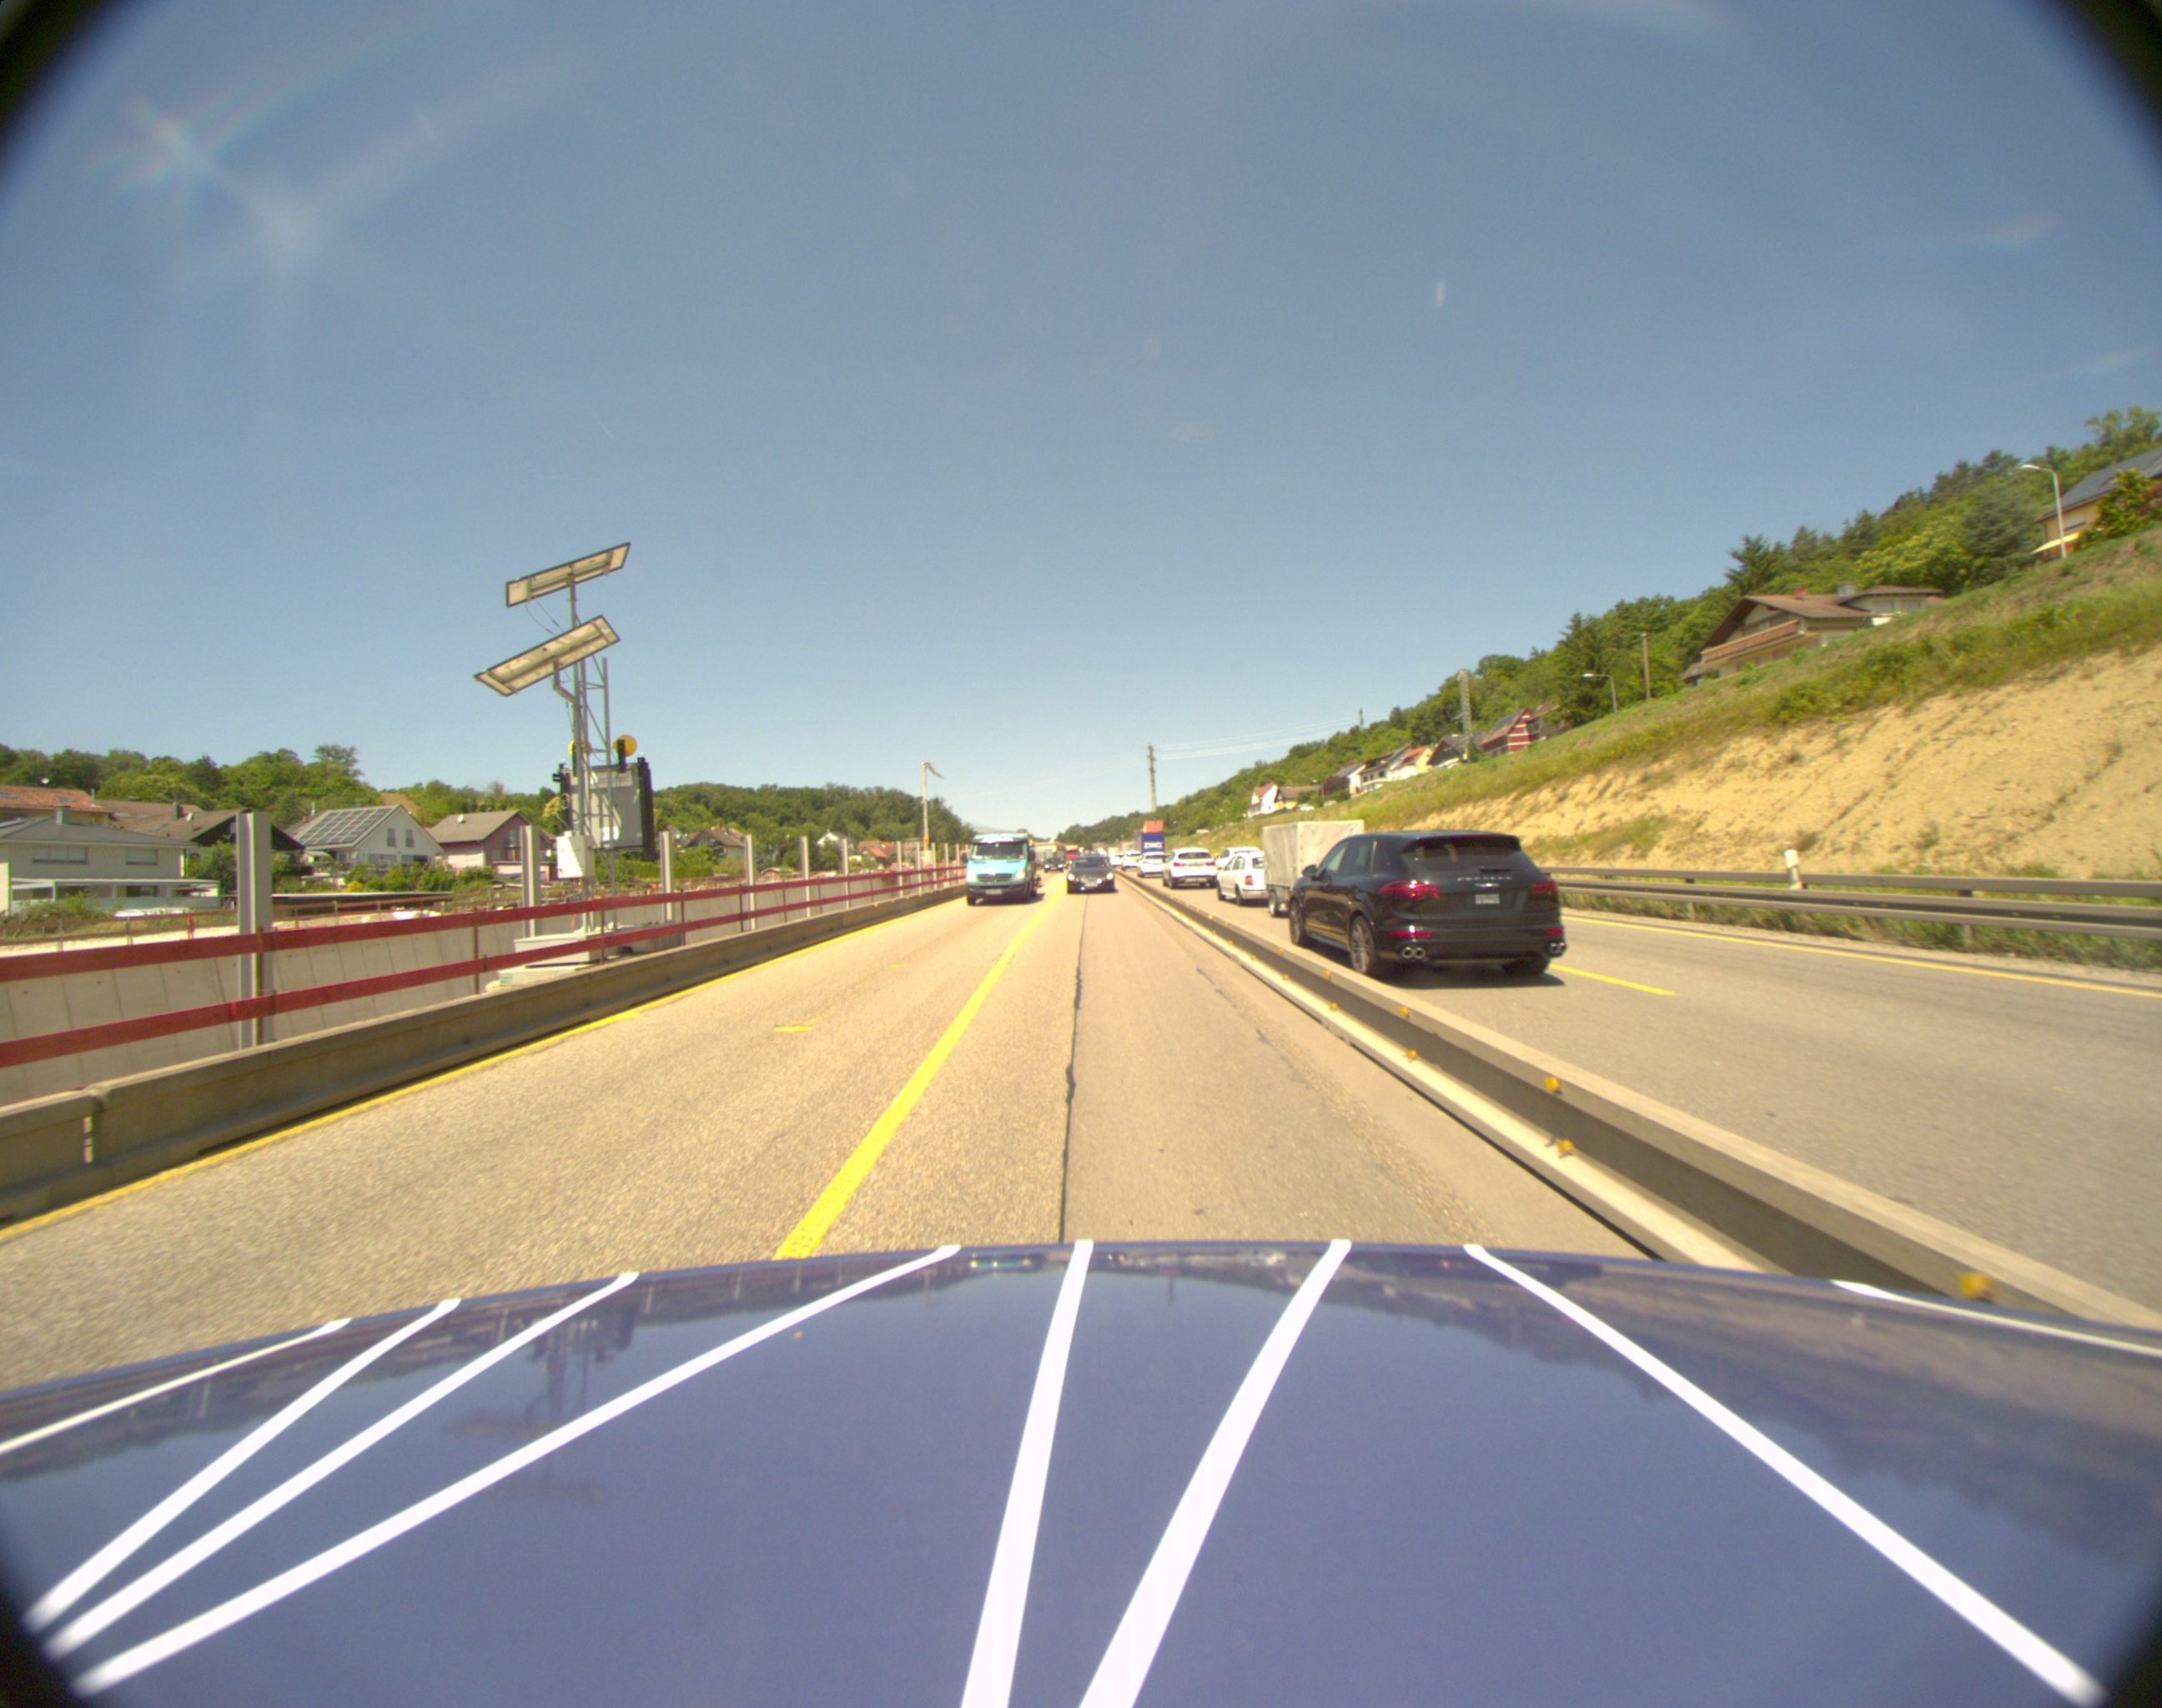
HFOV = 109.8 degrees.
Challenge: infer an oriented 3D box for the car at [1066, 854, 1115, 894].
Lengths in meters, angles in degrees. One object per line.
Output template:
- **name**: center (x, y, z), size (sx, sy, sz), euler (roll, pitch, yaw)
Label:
- **car**: center (0.378, 0.741, 29.901), size (1.746, 1.420, 4.000), euler (-1, 0, 1)

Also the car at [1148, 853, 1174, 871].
- **car**: center (6.712, 0.646, 63.701), size (1.706, 1.370, 3.966), euler (-2, 0, 0)

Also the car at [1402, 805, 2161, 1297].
- **car**: center (3.957, 0.654, 4.901), size (1.895, 1.698, 4.561), euler (-2, 1, 1)

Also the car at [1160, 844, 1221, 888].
- **car**: center (4.380, 0.453, 30.934), size (1.820, 1.583, 4.289), euler (-2, 0, 0)

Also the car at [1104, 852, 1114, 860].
- **car**: center (5.815, 0.429, 157.092), size (1.853, 1.577, 4.174), euler (-2, 0, 0)

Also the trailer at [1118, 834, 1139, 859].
- **trailer**: center (8.770, -1.331, 140.913), size (2.817, 4.261, 14.034), euler (-2, 0, 0)

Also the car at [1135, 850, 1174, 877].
- **car**: center (4.334, 0.532, 45.374), size (1.811, 1.468, 4.279), euler (-2, 0, 0)

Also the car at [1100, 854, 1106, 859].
- **car**: center (6.712, 0.755, 232.752), size (1.772, 1.355, 4.411), euler (-2, 0, 0)

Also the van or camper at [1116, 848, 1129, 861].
- **van or camper**: center (9.330, 0.160, 170.158), size (2.340, 2.761, 7.516), euler (-2, 0, 0)

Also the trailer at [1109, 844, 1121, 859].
- **trailer**: center (9.468, -0.666, 213.947), size (2.864, 4.100, 13.437), euler (-2, 0, 0)

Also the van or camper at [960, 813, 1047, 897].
- **van or camper**: center (-2.513, 0.033, 26.841), size (2.097, 2.458, 7.671), euler (-2, 0, 1)

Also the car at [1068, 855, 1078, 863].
- **car**: center (-1.541, 0.884, 143.620), size (1.679, 1.346, 3.486), euler (-4, 0, 1)

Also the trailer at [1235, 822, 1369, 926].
- **trailer**: center (4.825, 0.380, 17.236), size (1.651, 2.014, 4.269), euler (-2, 1, -2)

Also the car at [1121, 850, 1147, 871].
- **car**: center (4.568, 0.563, 66.013), size (1.896, 1.698, 4.561), euler (-2, 0, 0)

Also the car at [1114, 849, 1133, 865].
- **car**: center (4.641, 0.319, 83.822), size (1.817, 1.628, 4.361), euler (-2, 0, 0)

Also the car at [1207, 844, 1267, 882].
- **car**: center (7.321, 0.387, 36.099), size (1.904, 1.575, 4.513), euler (-2, 0, 0)

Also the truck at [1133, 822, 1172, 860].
- **truck**: center (8.378, -1.509, 91.067), size (3.251, 4.136, 13.977), euler (-2, 0, 0)

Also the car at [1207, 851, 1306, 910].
- **car**: center (4.710, 0.653, 20.946), size (1.651, 1.407, 3.999), euler (-2, 0, -2)

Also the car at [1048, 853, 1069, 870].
- **car**: center (-2.044, 0.682, 69.917), size (1.611, 1.324, 3.496), euler (-5, 0, 1)

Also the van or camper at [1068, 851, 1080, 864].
- **van or camper**: center (-1.546, 0.735, 162.901), size (2.321, 2.513, 4.527), euler (-4, 0, 1)
